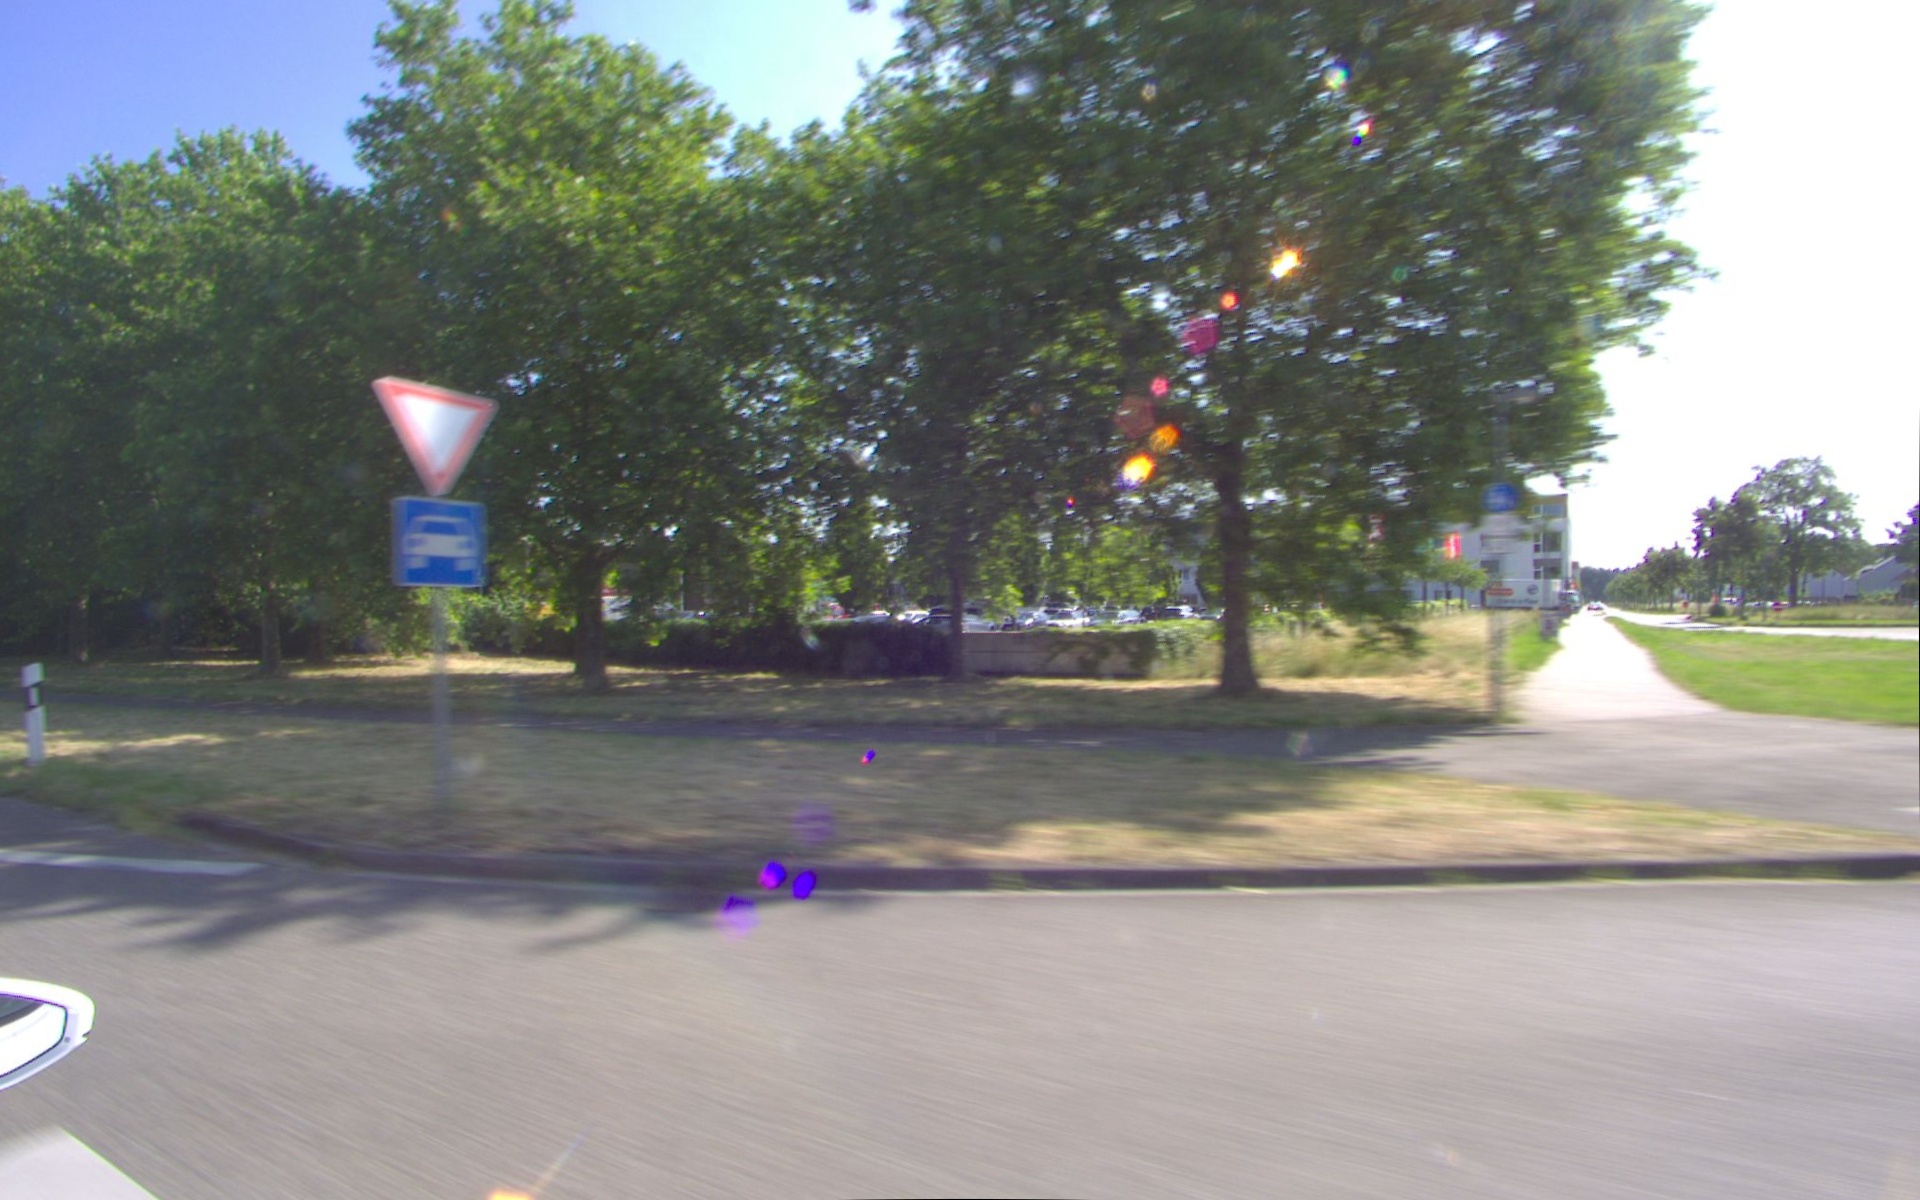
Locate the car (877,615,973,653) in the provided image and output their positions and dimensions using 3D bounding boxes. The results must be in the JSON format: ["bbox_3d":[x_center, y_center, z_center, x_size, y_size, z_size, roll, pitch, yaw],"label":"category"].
[{"bbox_3d":[-1.679,1.634,48.723,4.420,1.773,1.987,-1,0,6],"label":"car"}]

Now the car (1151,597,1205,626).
[{"bbox_3d":[14.940,0.776,68.504,1.976,1.951,3.969,-1,0,40],"label":"car"}]

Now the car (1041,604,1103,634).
[{"bbox_3d":[6.980,1.159,62.199,1.976,1.751,3.969,-1,0,39],"label":"car"}]

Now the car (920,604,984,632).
[{"bbox_3d":[-0.489,1.177,65.884,1.962,1.773,4.477,-1,0,37],"label":"car"}]

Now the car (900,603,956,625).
[{"bbox_3d":[-2.591,1.115,80.958,1.966,1.773,4.468,-1,0,43],"label":"car"}]

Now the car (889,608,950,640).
[{"bbox_3d":[-2.701,1.605,67.701,1.976,2.040,3.969,-1,0,39],"label":"car"}]

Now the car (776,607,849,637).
[{"bbox_3d":[-9.213,1.381,62.953,1.962,1.773,4.477,-1,0,37],"label":"car"}]

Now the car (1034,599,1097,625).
[{"bbox_3d":[7.704,0.861,73.017,4.451,1.773,1.974,-1,0,-36],"label":"car"}]

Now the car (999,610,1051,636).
[{"bbox_3d":[4.892,1.702,75.314,1.976,1.884,3.969,-1,0,40],"label":"car"}]

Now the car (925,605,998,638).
[{"bbox_3d":[0.101,1.171,55.307,1.976,1.751,3.969,-1,0,39],"label":"car"}]

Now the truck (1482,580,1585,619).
[{"bbox_3d":[54.917,-0.016,96.043,2.604,3.592,8.183,-1,0,-41],"label":"truck"}]

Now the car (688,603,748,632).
[{"bbox_3d":[-17.866,1.332,74.100,1.976,2.039,3.971,-1,-2,39],"label":"car"}]

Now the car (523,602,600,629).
[{"bbox_3d":[-24.420,0.979,61.392,3.960,1.605,1.982,2,-2,-43],"label":"car"}]

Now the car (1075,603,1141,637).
[{"bbox_3d":[8.596,1.122,57.896,1.976,1.884,3.969,-1,0,40],"label":"car"}]

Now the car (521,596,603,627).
[{"bbox_3d":[-22.859,0.703,57.637,1.980,1.705,3.964,-2,-2,44],"label":"car"}]

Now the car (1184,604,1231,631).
[{"bbox_3d":[18.595,1.270,75.140,1.976,1.951,3.969,-1,0,40],"label":"car"}]
